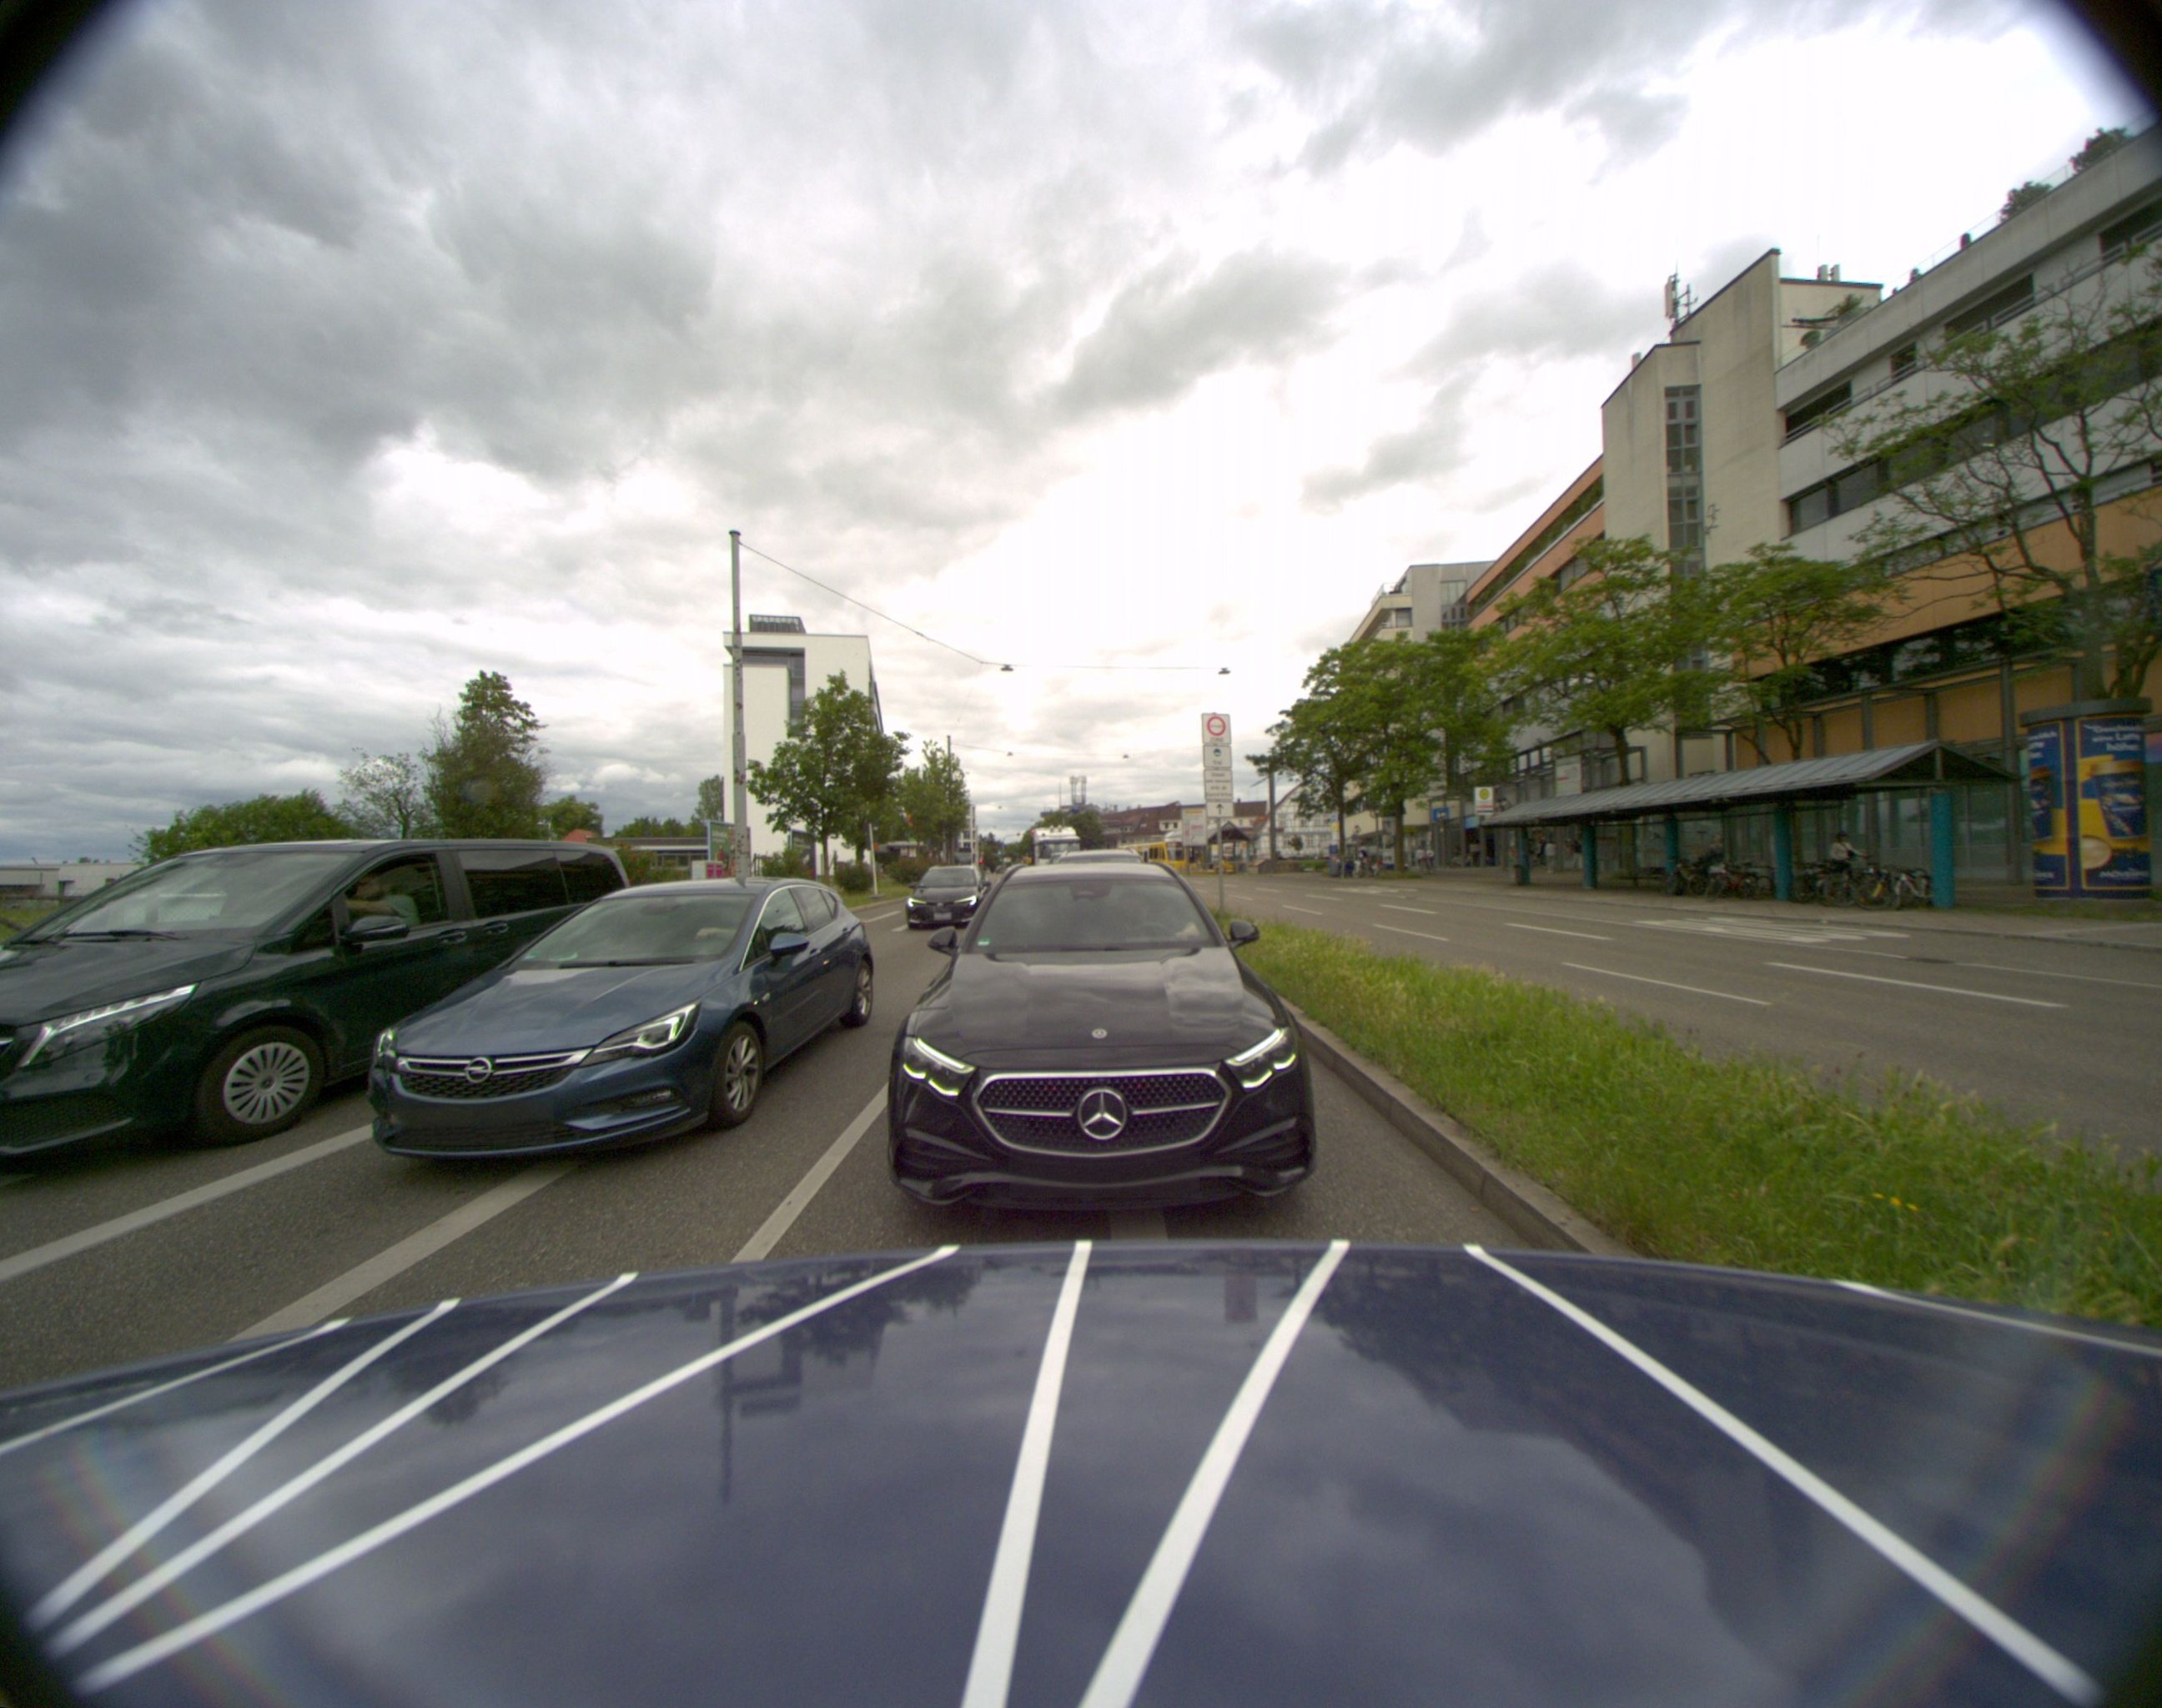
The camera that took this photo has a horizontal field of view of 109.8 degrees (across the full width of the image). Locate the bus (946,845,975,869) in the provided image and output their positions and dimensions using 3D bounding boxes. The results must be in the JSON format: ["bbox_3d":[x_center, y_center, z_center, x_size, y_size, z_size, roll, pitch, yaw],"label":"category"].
[{"bbox_3d":[-15.211,0.350,95.052,2.969,2.616,12.911,-2,1,-11],"label":"bus"}]

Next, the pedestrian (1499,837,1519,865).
[{"bbox_3d":[25.377,-0.167,45.017,0.765,1.673,0.752,-1,1,1],"label":"pedestrian"}]

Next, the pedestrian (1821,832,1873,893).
[{"bbox_3d":[21.039,0.232,20.880,0.678,1.640,0.721,-2,1,-3],"label":"pedestrian"}]

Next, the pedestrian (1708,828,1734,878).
[{"bbox_3d":[26.025,-0.046,30.908,0.566,2.002,0.611,-1,1,6],"label":"pedestrian"}]

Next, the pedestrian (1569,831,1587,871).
[{"bbox_3d":[25.502,-0.153,38.978,0.566,2.002,0.611,-1,1,6],"label":"pedestrian"}]

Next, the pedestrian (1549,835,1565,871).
[{"bbox_3d":[24.106,-0.048,38.488,0.648,1.799,0.761,0,1,34],"label":"pedestrian"}]

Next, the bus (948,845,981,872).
[{"bbox_3d":[-12.806,0.394,82.729,2.969,2.616,12.137,-2,1,-11],"label":"bus"}]

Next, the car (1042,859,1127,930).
[{"bbox_3d":[0.051,0.912,18.909,1.865,1.520,3.999,-1,0,-1],"label":"car"}]

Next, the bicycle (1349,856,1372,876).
[{"bbox_3d":[15.486,0.655,42.017,0.593,1.071,2.041,0,1,38],"label":"bicycle"}]

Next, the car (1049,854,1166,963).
[{"bbox_3d":[0.398,0.821,13.483,1.734,1.601,4.000,-2,0,0],"label":"car"}]

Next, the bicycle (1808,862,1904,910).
[{"bbox_3d":[18.632,0.752,18.283,1.735,1.035,0.549,-3,1,-2],"label":"bicycle"}]

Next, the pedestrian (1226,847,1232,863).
[{"bbox_3d":[19.268,0.105,98.776,0.742,2.002,0.939,-1,1,11],"label":"pedestrian"}]

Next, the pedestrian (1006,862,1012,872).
[{"bbox_3d":[-14.867,2.698,156.190,0.975,2.002,0.991,-2,1,-13],"label":"pedestrian"}]

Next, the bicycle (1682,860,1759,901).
[{"bbox_3d":[18.290,0.743,21.742,1.735,1.035,0.549,-4,1,-2],"label":"bicycle"}]

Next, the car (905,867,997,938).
[{"bbox_3d":[-3.114,1.125,18.966,1.665,1.448,3.920,-2,0,-2],"label":"car"}]

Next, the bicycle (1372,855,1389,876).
[{"bbox_3d":[16.409,0.623,41.645,0.593,1.071,2.041,0,1,29],"label":"bicycle"}]

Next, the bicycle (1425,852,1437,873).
[{"bbox_3d":[19.494,0.469,42.384,0.593,1.119,2.040,0,1,24],"label":"bicycle"}]

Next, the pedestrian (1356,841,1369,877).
[{"bbox_3d":[18.341,0.307,49.460,0.590,2.294,0.608,-1,1,-2],"label":"pedestrian"}]

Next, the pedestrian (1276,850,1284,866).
[{"bbox_3d":[19.673,0.388,74.981,0.577,1.533,0.583,-1,1,-8],"label":"pedestrian"}]

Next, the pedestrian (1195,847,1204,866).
[{"bbox_3d":[12.251,0.251,78.335,0.637,2.002,0.667,-1,1,-20],"label":"pedestrian"}]

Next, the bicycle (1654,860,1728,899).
[{"bbox_3d":[18.211,0.748,22.702,1.735,1.035,0.549,-3,1,-2],"label":"bicycle"}]

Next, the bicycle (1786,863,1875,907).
[{"bbox_3d":[19.031,0.774,19.308,1.735,1.035,0.549,-2,1,-2],"label":"bicycle"}]

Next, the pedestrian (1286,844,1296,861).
[{"bbox_3d":[23.838,-0.173,86.159,0.879,2.002,1.010,-1,1,6],"label":"pedestrian"}]

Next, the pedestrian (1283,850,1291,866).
[{"bbox_3d":[20.302,0.363,75.018,0.577,1.533,0.583,-1,1,-8],"label":"pedestrian"}]

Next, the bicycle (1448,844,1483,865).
[{"bbox_3d":[27.002,0.031,53.399,2.139,1.367,0.620,-2,1,18],"label":"bicycle"}]

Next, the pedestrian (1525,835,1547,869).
[{"bbox_3d":[24.882,-0.114,41.592,0.765,1.835,0.752,-1,1,1],"label":"pedestrian"}]

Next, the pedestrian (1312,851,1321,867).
[{"bbox_3d":[22.218,0.495,71.693,0.577,1.533,0.583,-1,1,-8],"label":"pedestrian"}]

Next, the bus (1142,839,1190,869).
[{"bbox_3d":[8.709,0.006,79.015,2.556,2.966,8.498,-1,0,-11],"label":"bus"}]

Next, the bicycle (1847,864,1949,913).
[{"bbox_3d":[18.691,0.784,17.397,1.735,1.035,0.549,-2,1,-2],"label":"bicycle"}]

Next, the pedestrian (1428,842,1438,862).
[{"bbox_3d":[25.922,-0.140,55.937,0.555,1.485,0.454,-1,1,8],"label":"pedestrian"}]

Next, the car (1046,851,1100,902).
[{"bbox_3d":[-0.360,0.774,28.346,1.865,1.773,3.999,-1,0,-2],"label":"car"}]

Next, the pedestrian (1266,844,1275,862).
[{"bbox_3d":[21.846,-0.114,87.780,0.879,2.002,1.010,-1,1,6],"label":"pedestrian"}]

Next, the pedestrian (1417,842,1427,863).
[{"bbox_3d":[25.167,-0.116,56.127,0.555,1.485,0.454,-1,1,8],"label":"pedestrian"}]

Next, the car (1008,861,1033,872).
[{"bbox_3d":[-10.175,2.110,128.096,3.788,1.607,1.849,-3,1,-30],"label":"car"}]

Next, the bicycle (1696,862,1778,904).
[{"bbox_3d":[17.954,0.790,20.810,1.735,1.035,0.549,-3,1,-2],"label":"bicycle"}]

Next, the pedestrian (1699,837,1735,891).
[{"bbox_3d":[21.484,0.327,25.676,0.531,1.776,0.770,-1,1,-7],"label":"pedestrian"}]

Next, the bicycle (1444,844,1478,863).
[{"bbox_3d":[27.765,-0.027,55.550,2.138,1.358,0.620,-2,1,26],"label":"bicycle"}]

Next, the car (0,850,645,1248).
[{"bbox_3d":[-5.759,0.933,5.859,1.954,1.829,4.709,-3,0,1],"label":"car"}]

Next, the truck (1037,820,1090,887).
[{"bbox_3d":[-1.052,-0.055,40.995,2.490,3.258,7.428,-1,0,-4],"label":"truck"}]

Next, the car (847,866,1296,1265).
[{"bbox_3d":[-0.048,0.885,5.191,1.793,1.507,4.249,-1,0,0],"label":"car"}]

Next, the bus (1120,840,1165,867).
[{"bbox_3d":[6.946,-0.055,87.951,2.556,2.966,9.790,-1,0,-11],"label":"bus"}]

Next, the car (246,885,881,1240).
[{"bbox_3d":[-2.908,1.047,5.510,1.826,1.402,4.000,-2,0,0],"label":"car"}]
